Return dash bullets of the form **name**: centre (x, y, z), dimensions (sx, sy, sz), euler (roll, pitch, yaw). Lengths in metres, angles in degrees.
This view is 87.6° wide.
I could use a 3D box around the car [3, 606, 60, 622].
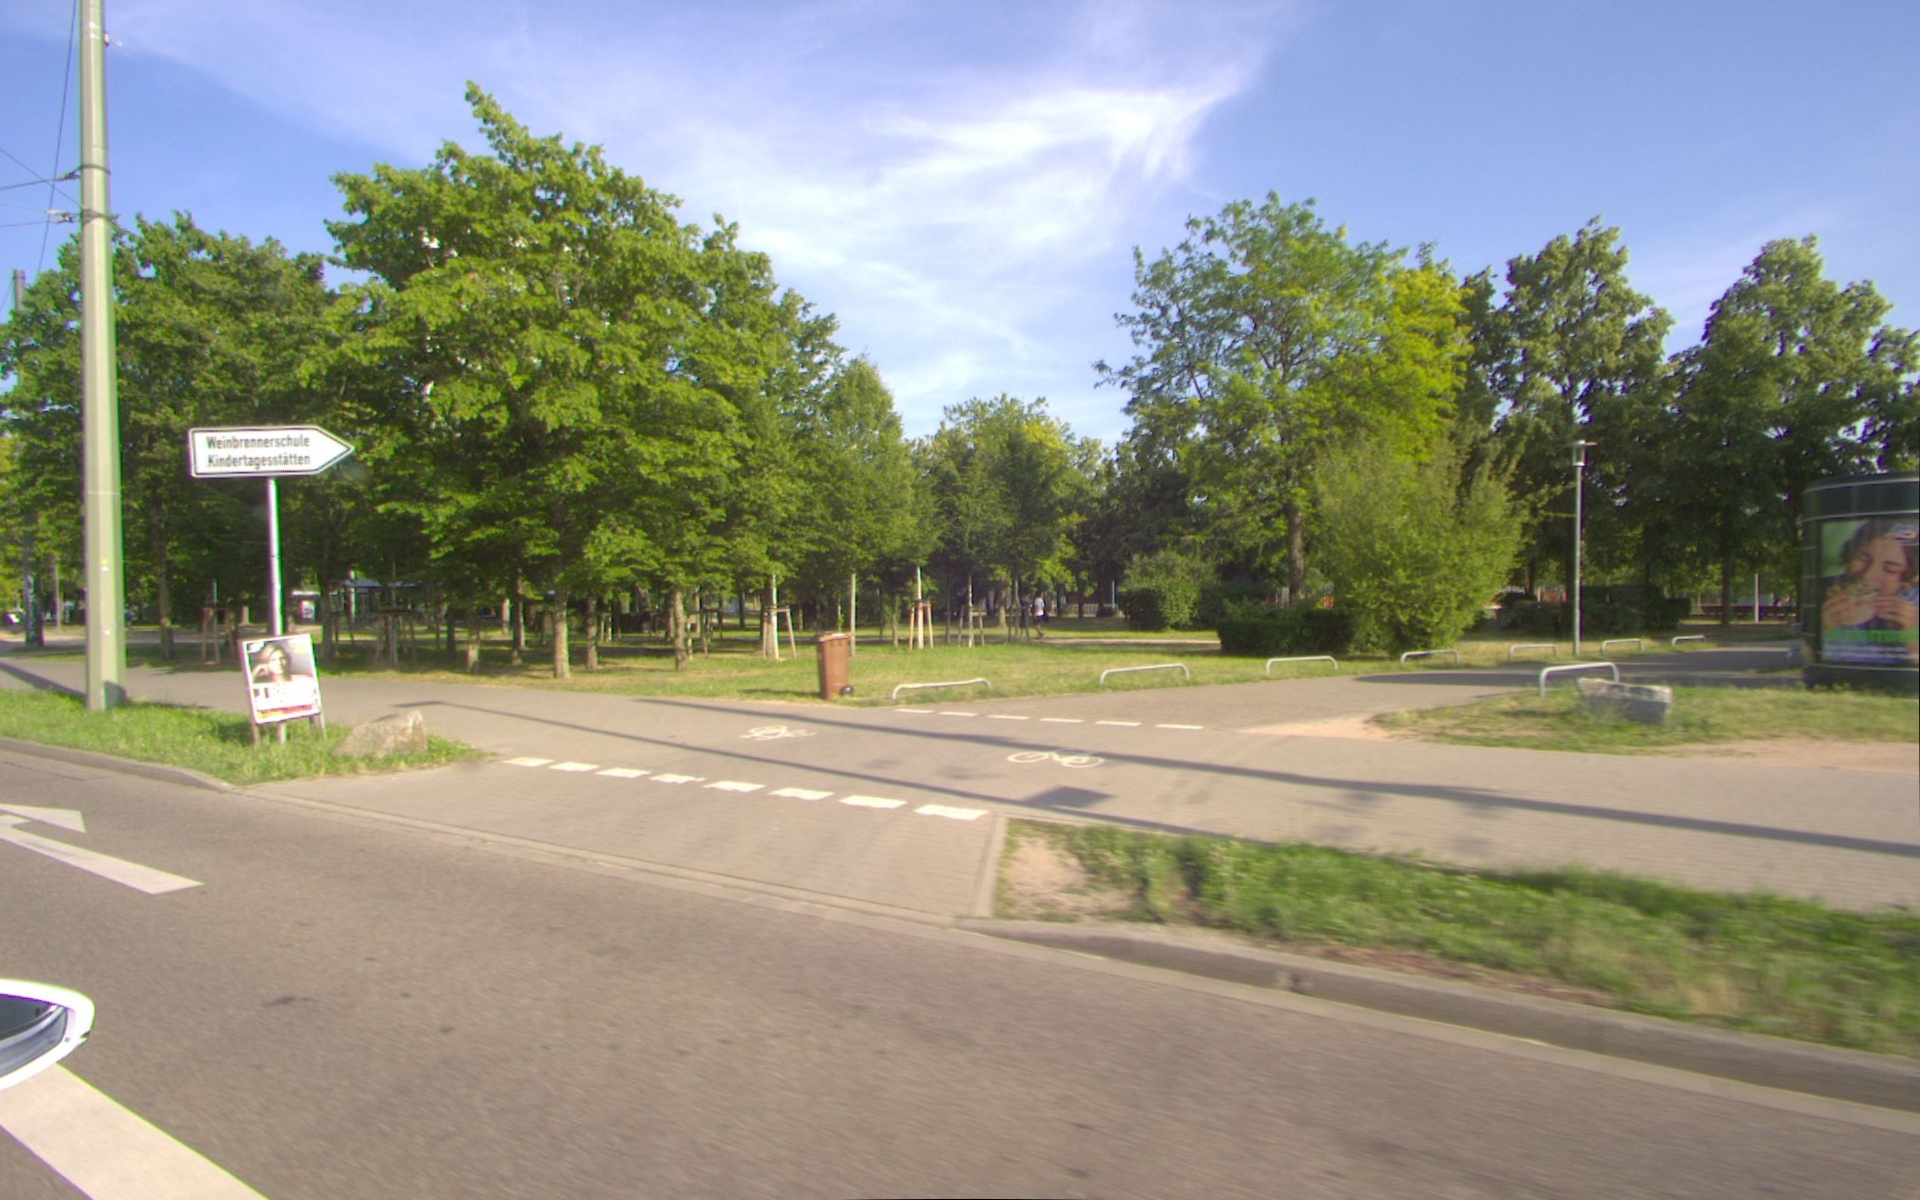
- **car**: centre (-96.640, 1.445, 104.259), dimensions (1.961, 1.673, 3.999), euler (-1, 0, 6)
